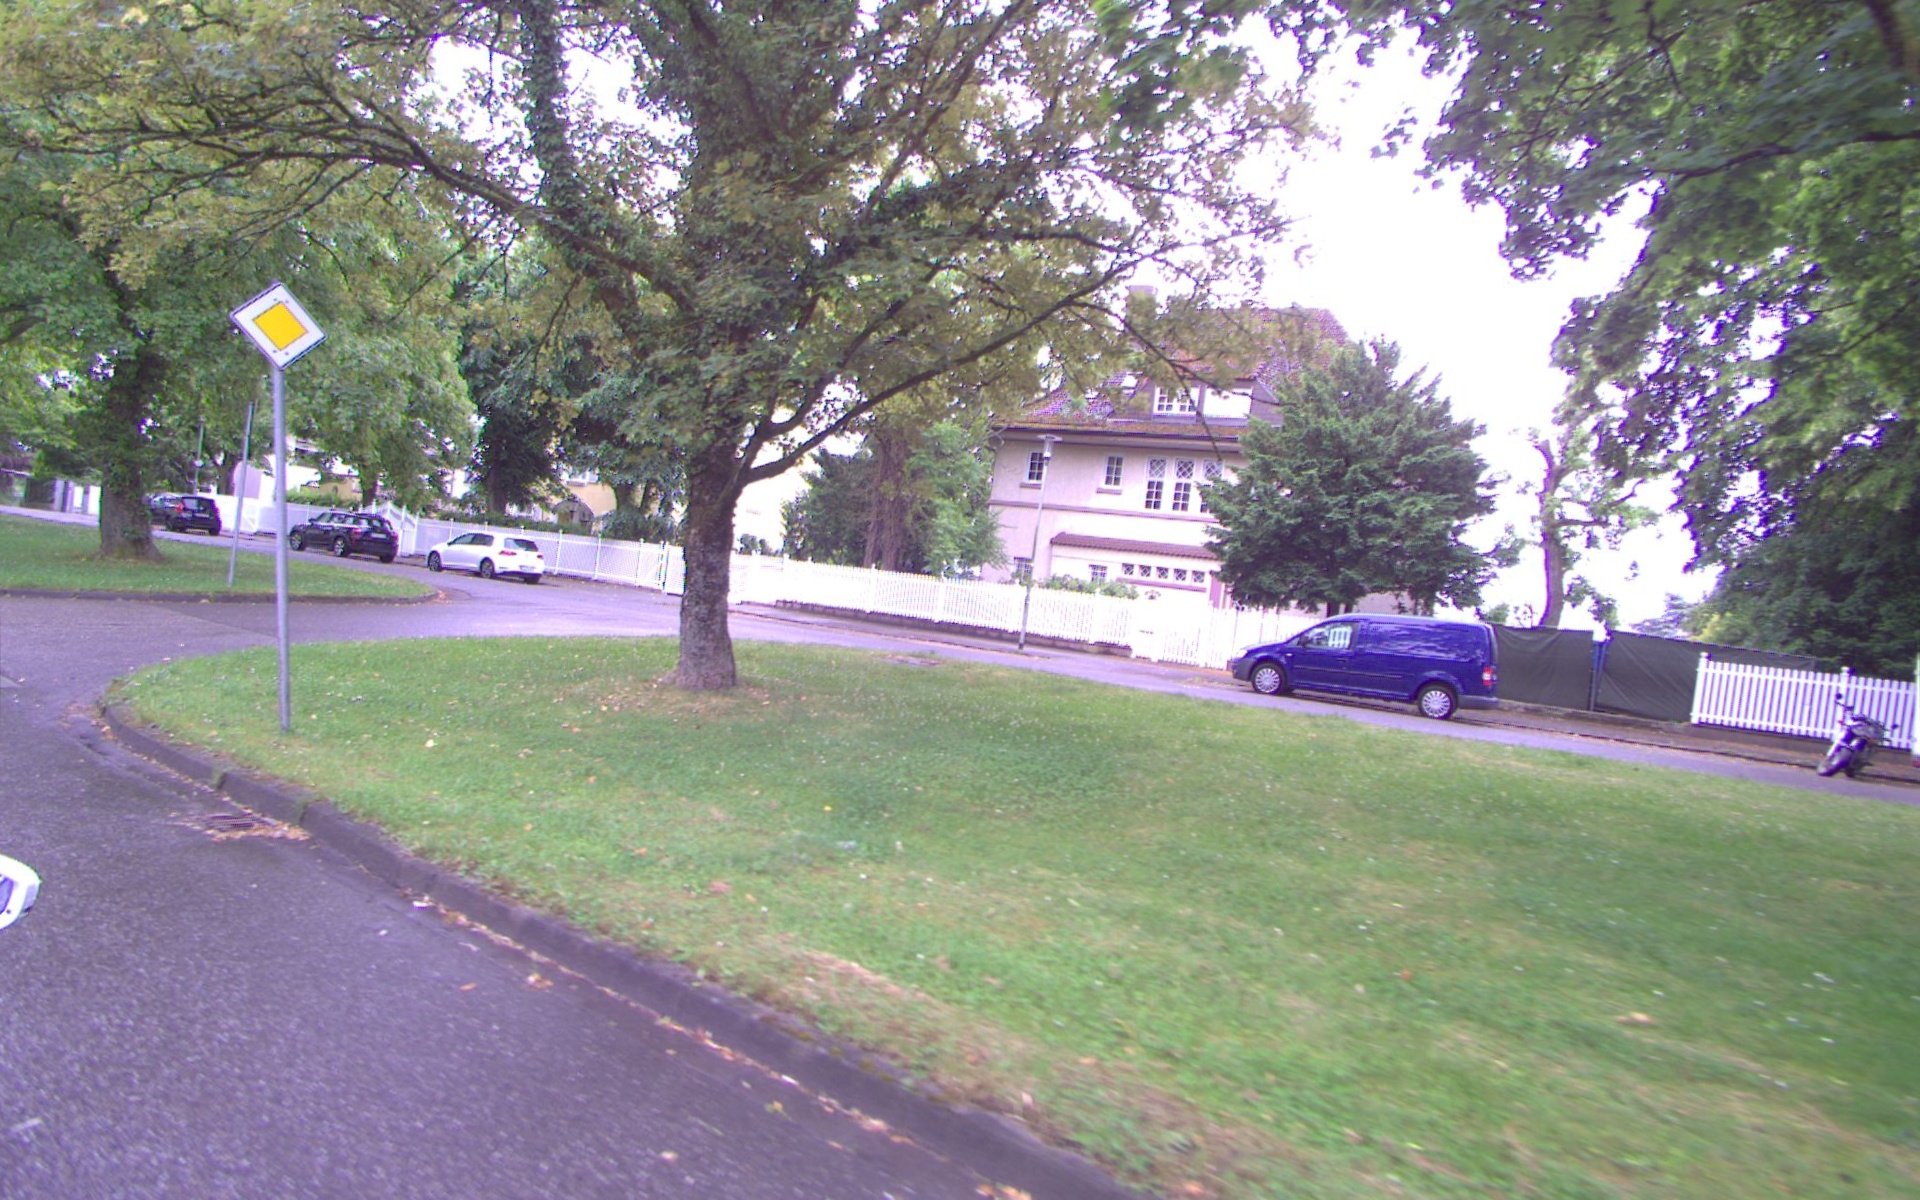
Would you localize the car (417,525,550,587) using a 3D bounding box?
[{"bbox_3d":[-14.949,-1.378,31.526,3.939,1.428,1.619,8,1,27],"label":"car"}]

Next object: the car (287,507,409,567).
[{"bbox_3d":[-21.291,-2.190,34.958,4.042,1.549,1.804,8,1,30],"label":"car"}]

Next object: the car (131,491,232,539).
[{"bbox_3d":[-31.640,-3.455,40.874,4.042,1.430,1.804,8,1,30],"label":"car"}]

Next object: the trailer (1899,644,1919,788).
[{"bbox_3d":[15.896,1.893,14.555,2.899,2.182,1.438,7,1,27],"label":"trailer"}]

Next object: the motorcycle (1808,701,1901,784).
[{"bbox_3d":[13.816,2.207,15.523,1.876,1.106,0.651,7,1,-39],"label":"motorcycle"}]

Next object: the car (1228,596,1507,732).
[{"bbox_3d":[7.742,1.135,19.226,4.569,1.833,1.943,8,2,29],"label":"car"}]
